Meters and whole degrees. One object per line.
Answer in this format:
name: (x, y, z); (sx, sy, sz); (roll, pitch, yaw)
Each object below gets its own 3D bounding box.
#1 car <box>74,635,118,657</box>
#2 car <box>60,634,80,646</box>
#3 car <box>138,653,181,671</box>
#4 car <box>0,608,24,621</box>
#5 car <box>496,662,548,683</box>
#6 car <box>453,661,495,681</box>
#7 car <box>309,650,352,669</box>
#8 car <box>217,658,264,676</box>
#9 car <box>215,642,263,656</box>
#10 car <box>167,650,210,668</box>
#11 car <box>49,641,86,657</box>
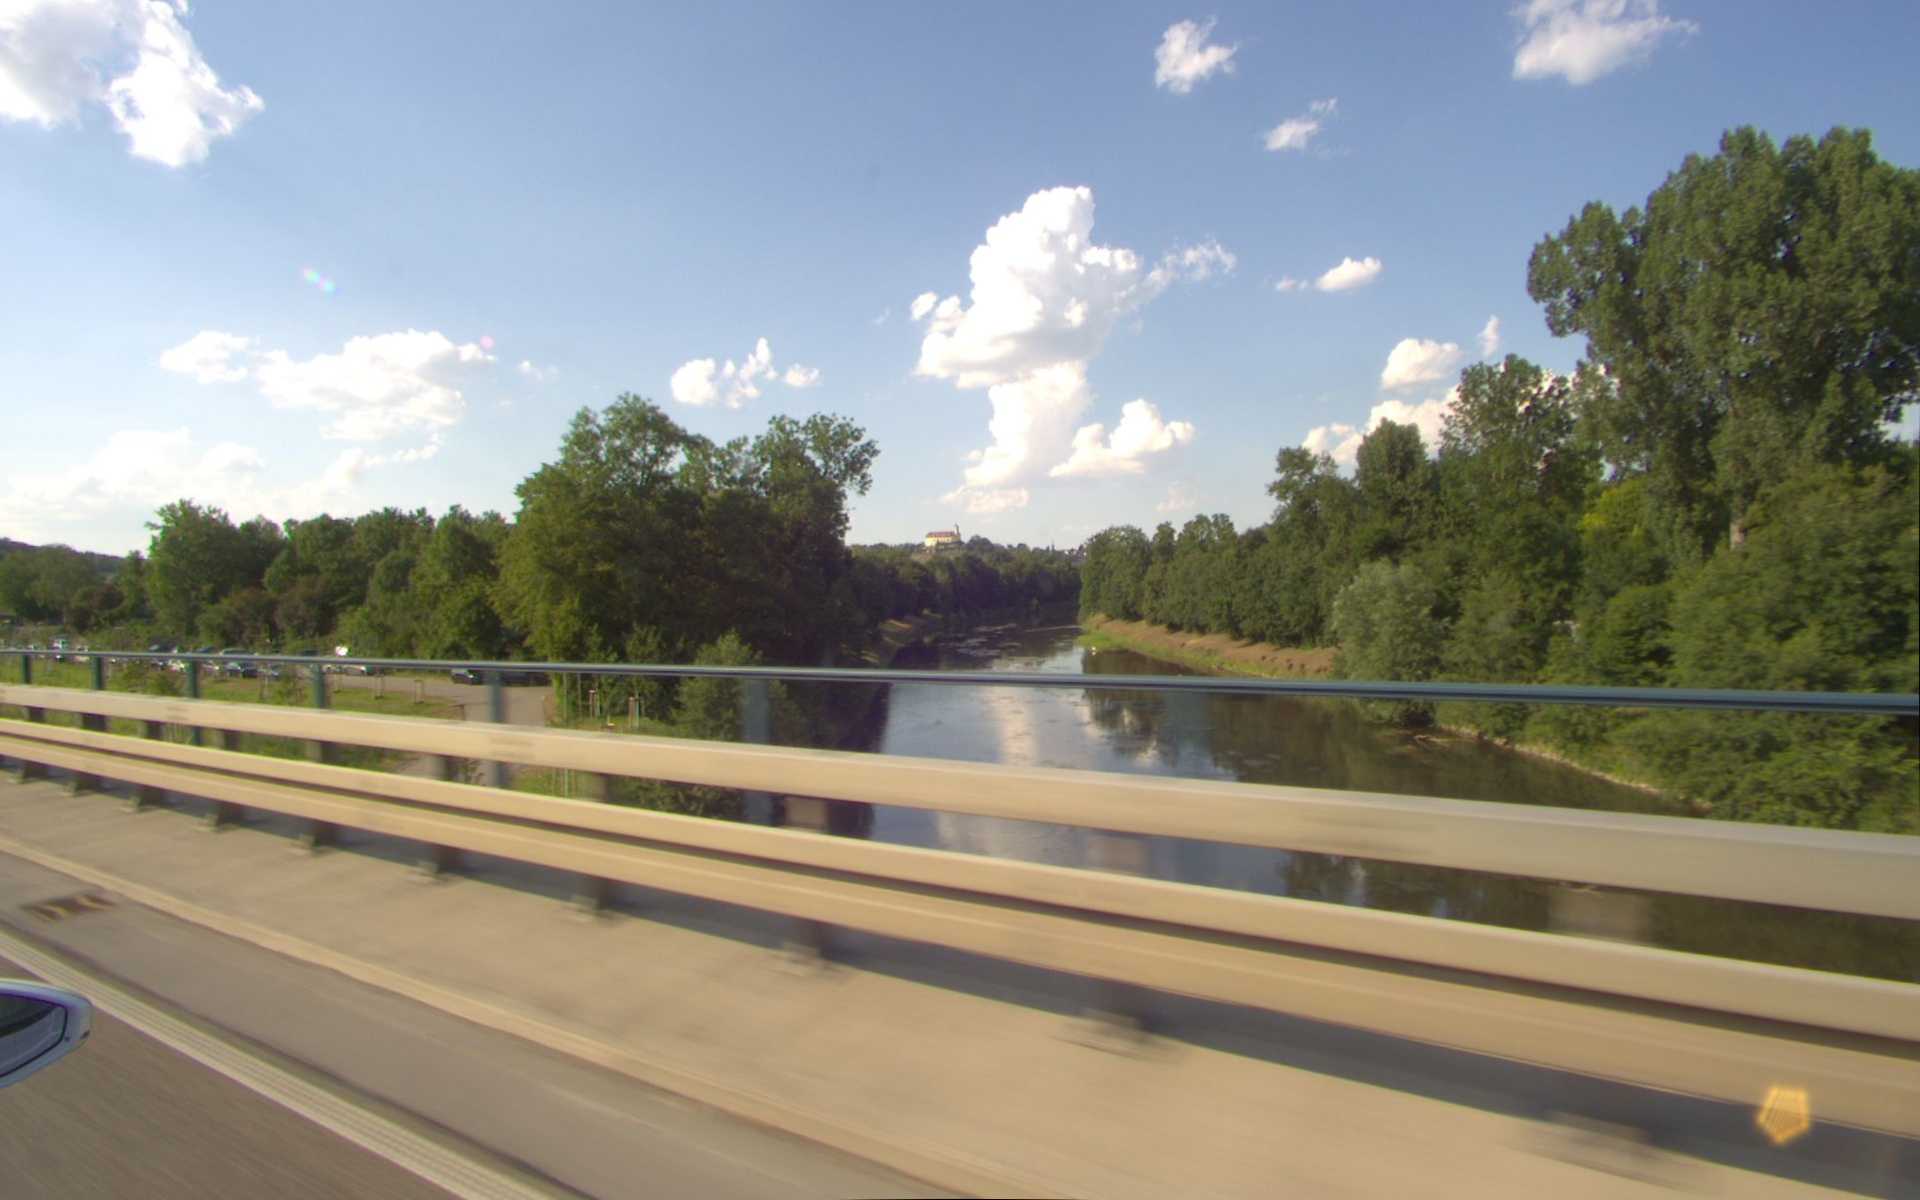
car: (-97.625, 5.175, 113.123); (5.300, 2.046, 2.114); (1, 4, 31)
car: (-124.279, 5.541, 139.795); (3.900, 1.530, 1.692); (0, 0, 42)
car: (-83.048, 6.398, 103.880); (4.325, 1.503, 1.816); (1, 2, 27)
car: (-175.705, 2.567, 183.913); (5.100, 1.967, 1.960); (7, -3, -37)
car: (-35.862, 5.940, 82.096); (3.615, 1.516, 1.659); (-1, 0, -11)
car: (-40.687, 5.931, 83.781); (3.782, 1.516, 1.648); (-1, 0, 38)
car: (-60.922, 5.750, 96.919); (4.641, 1.688, 1.651); (-1, 0, 32)
car: (-67.894, 6.322, 94.488); (4.189, 1.421, 1.816); (1, 2, 27)
car: (-83.501, 5.663, 115.994); (1.591, 1.475, 4.234); (0, -1, 25)
car: (-78.096, 5.930, 101.304); (4.189, 1.503, 1.816); (1, 2, 27)
car: (-104.793, 5.772, 117.511); (4.712, 1.503, 1.887); (1, 4, 31)
